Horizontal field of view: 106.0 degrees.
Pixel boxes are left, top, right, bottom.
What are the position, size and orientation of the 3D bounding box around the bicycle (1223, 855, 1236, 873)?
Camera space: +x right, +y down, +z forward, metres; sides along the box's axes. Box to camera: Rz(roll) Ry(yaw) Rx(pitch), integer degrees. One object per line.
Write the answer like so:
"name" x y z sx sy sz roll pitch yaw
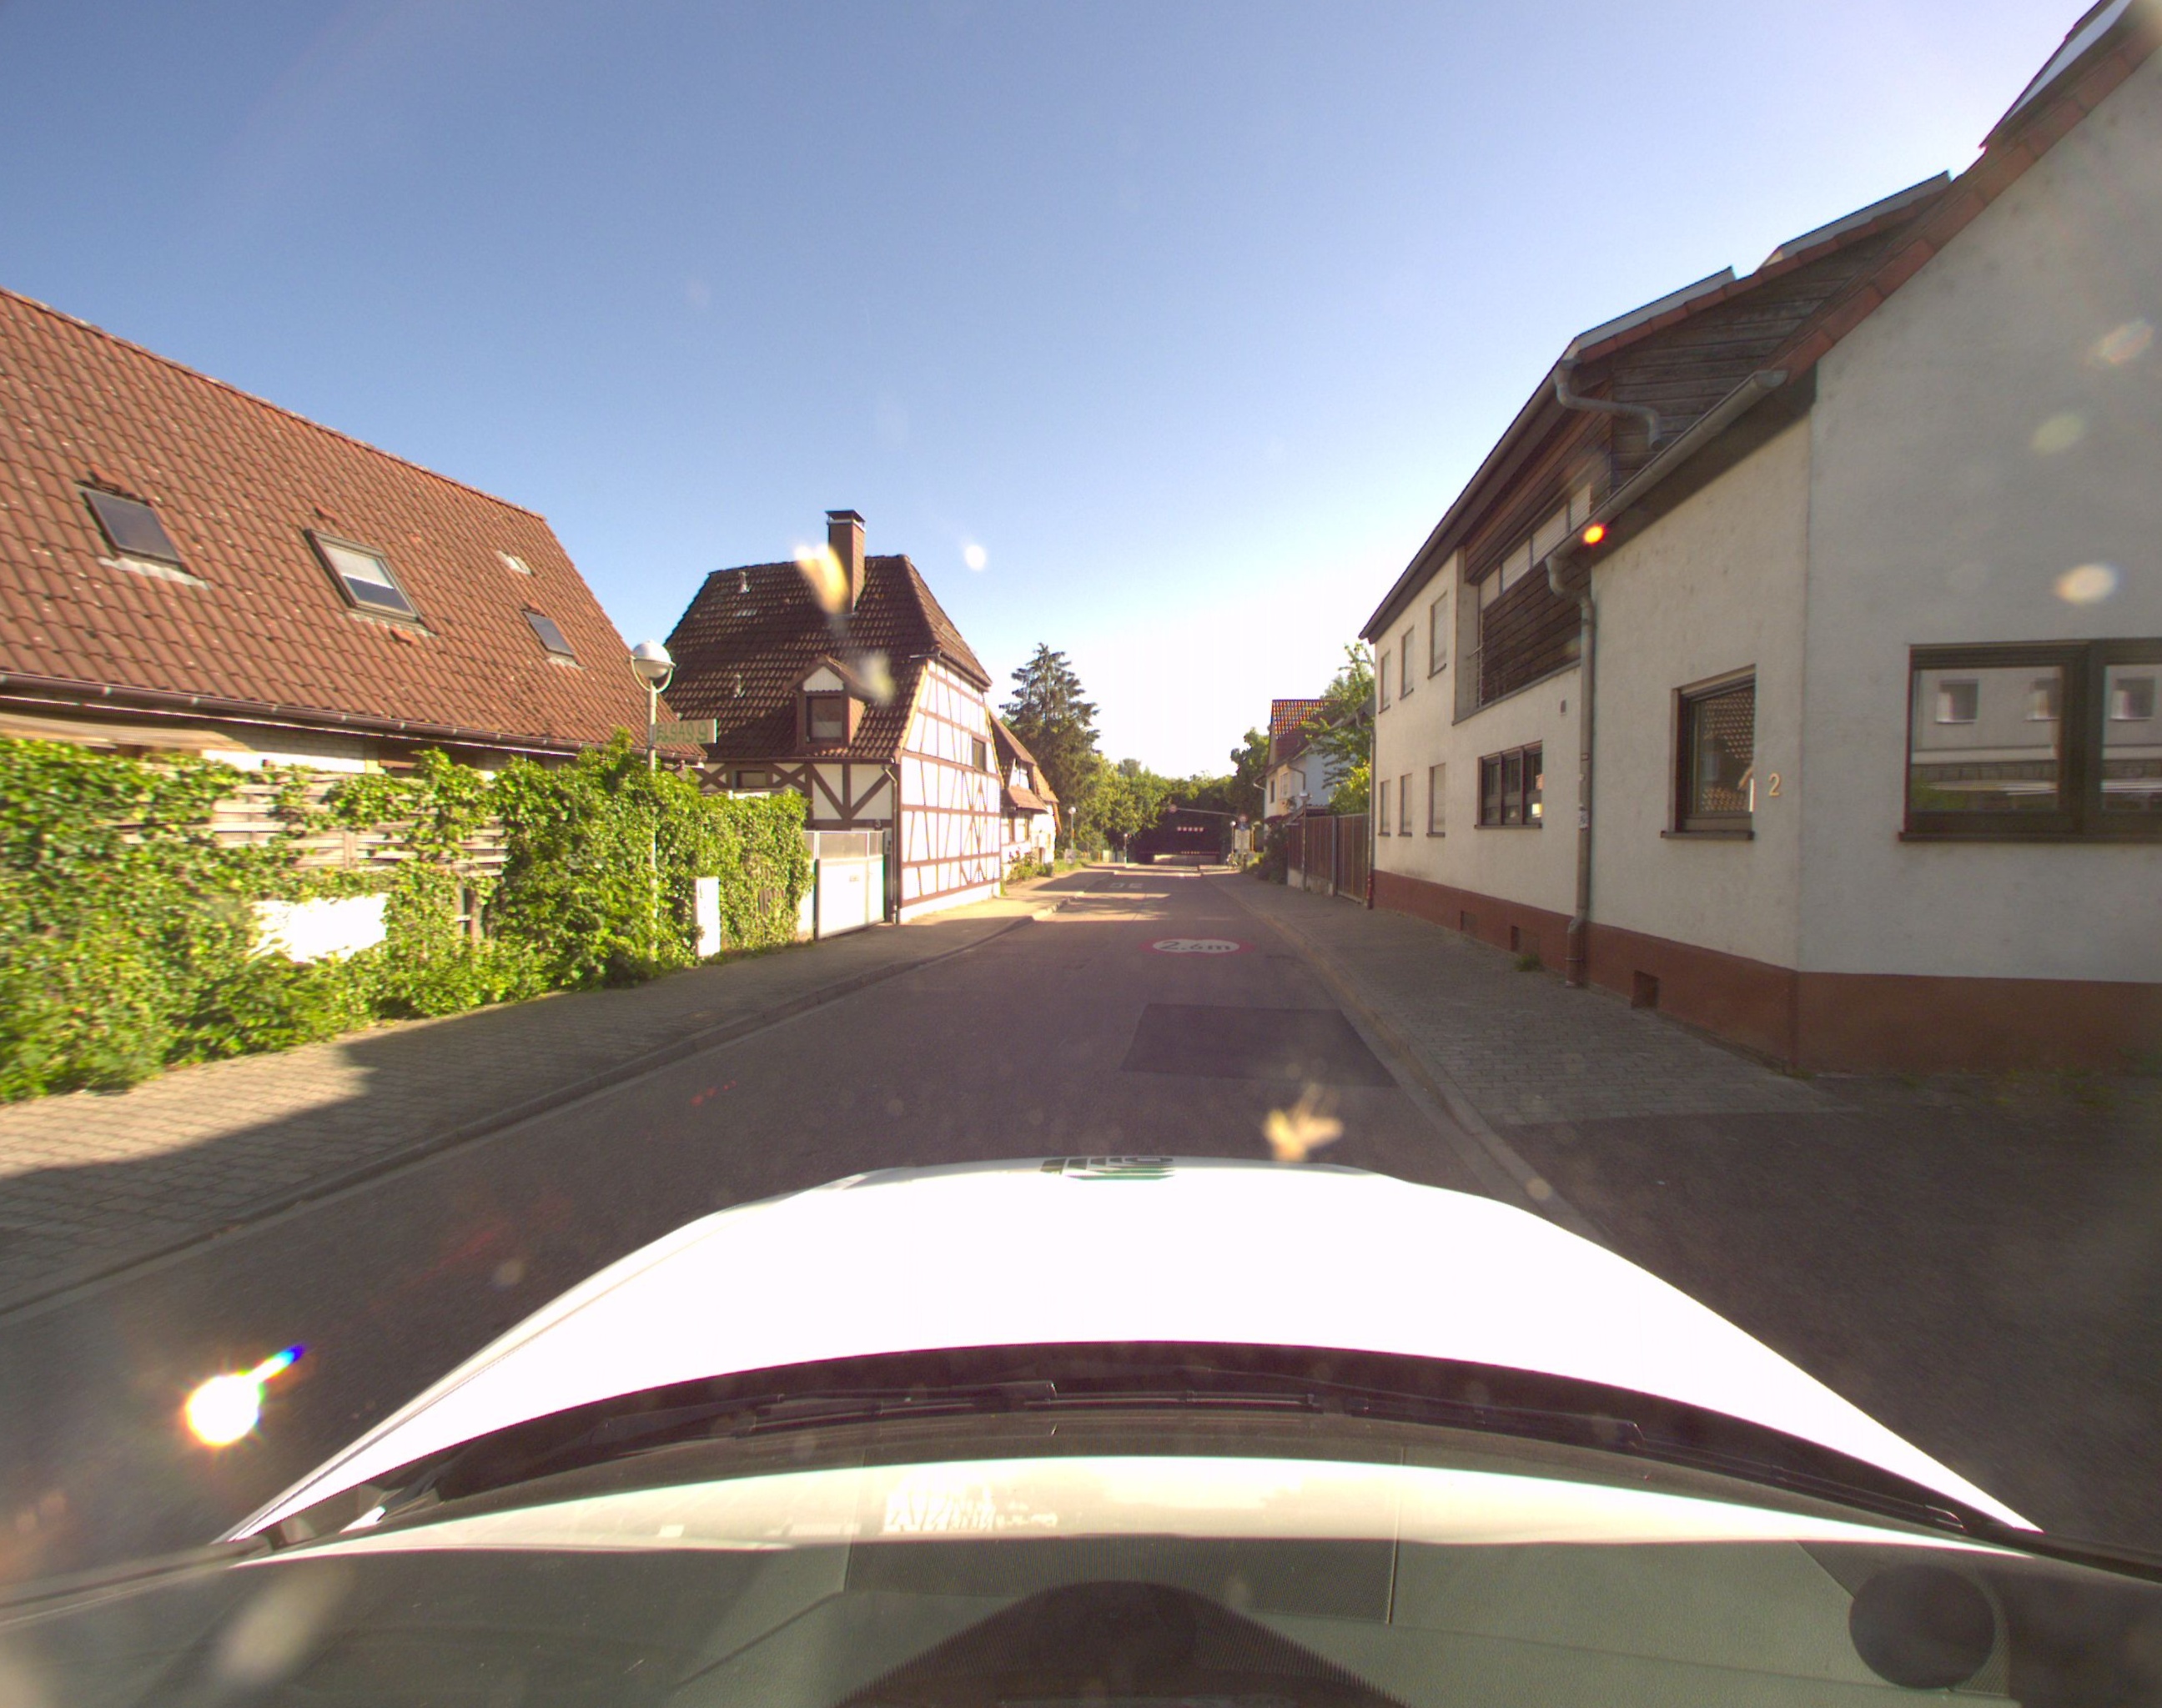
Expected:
"bicycle" 10.120 0.675 55.432 0.685 1.157 1.542 -4 0 6
